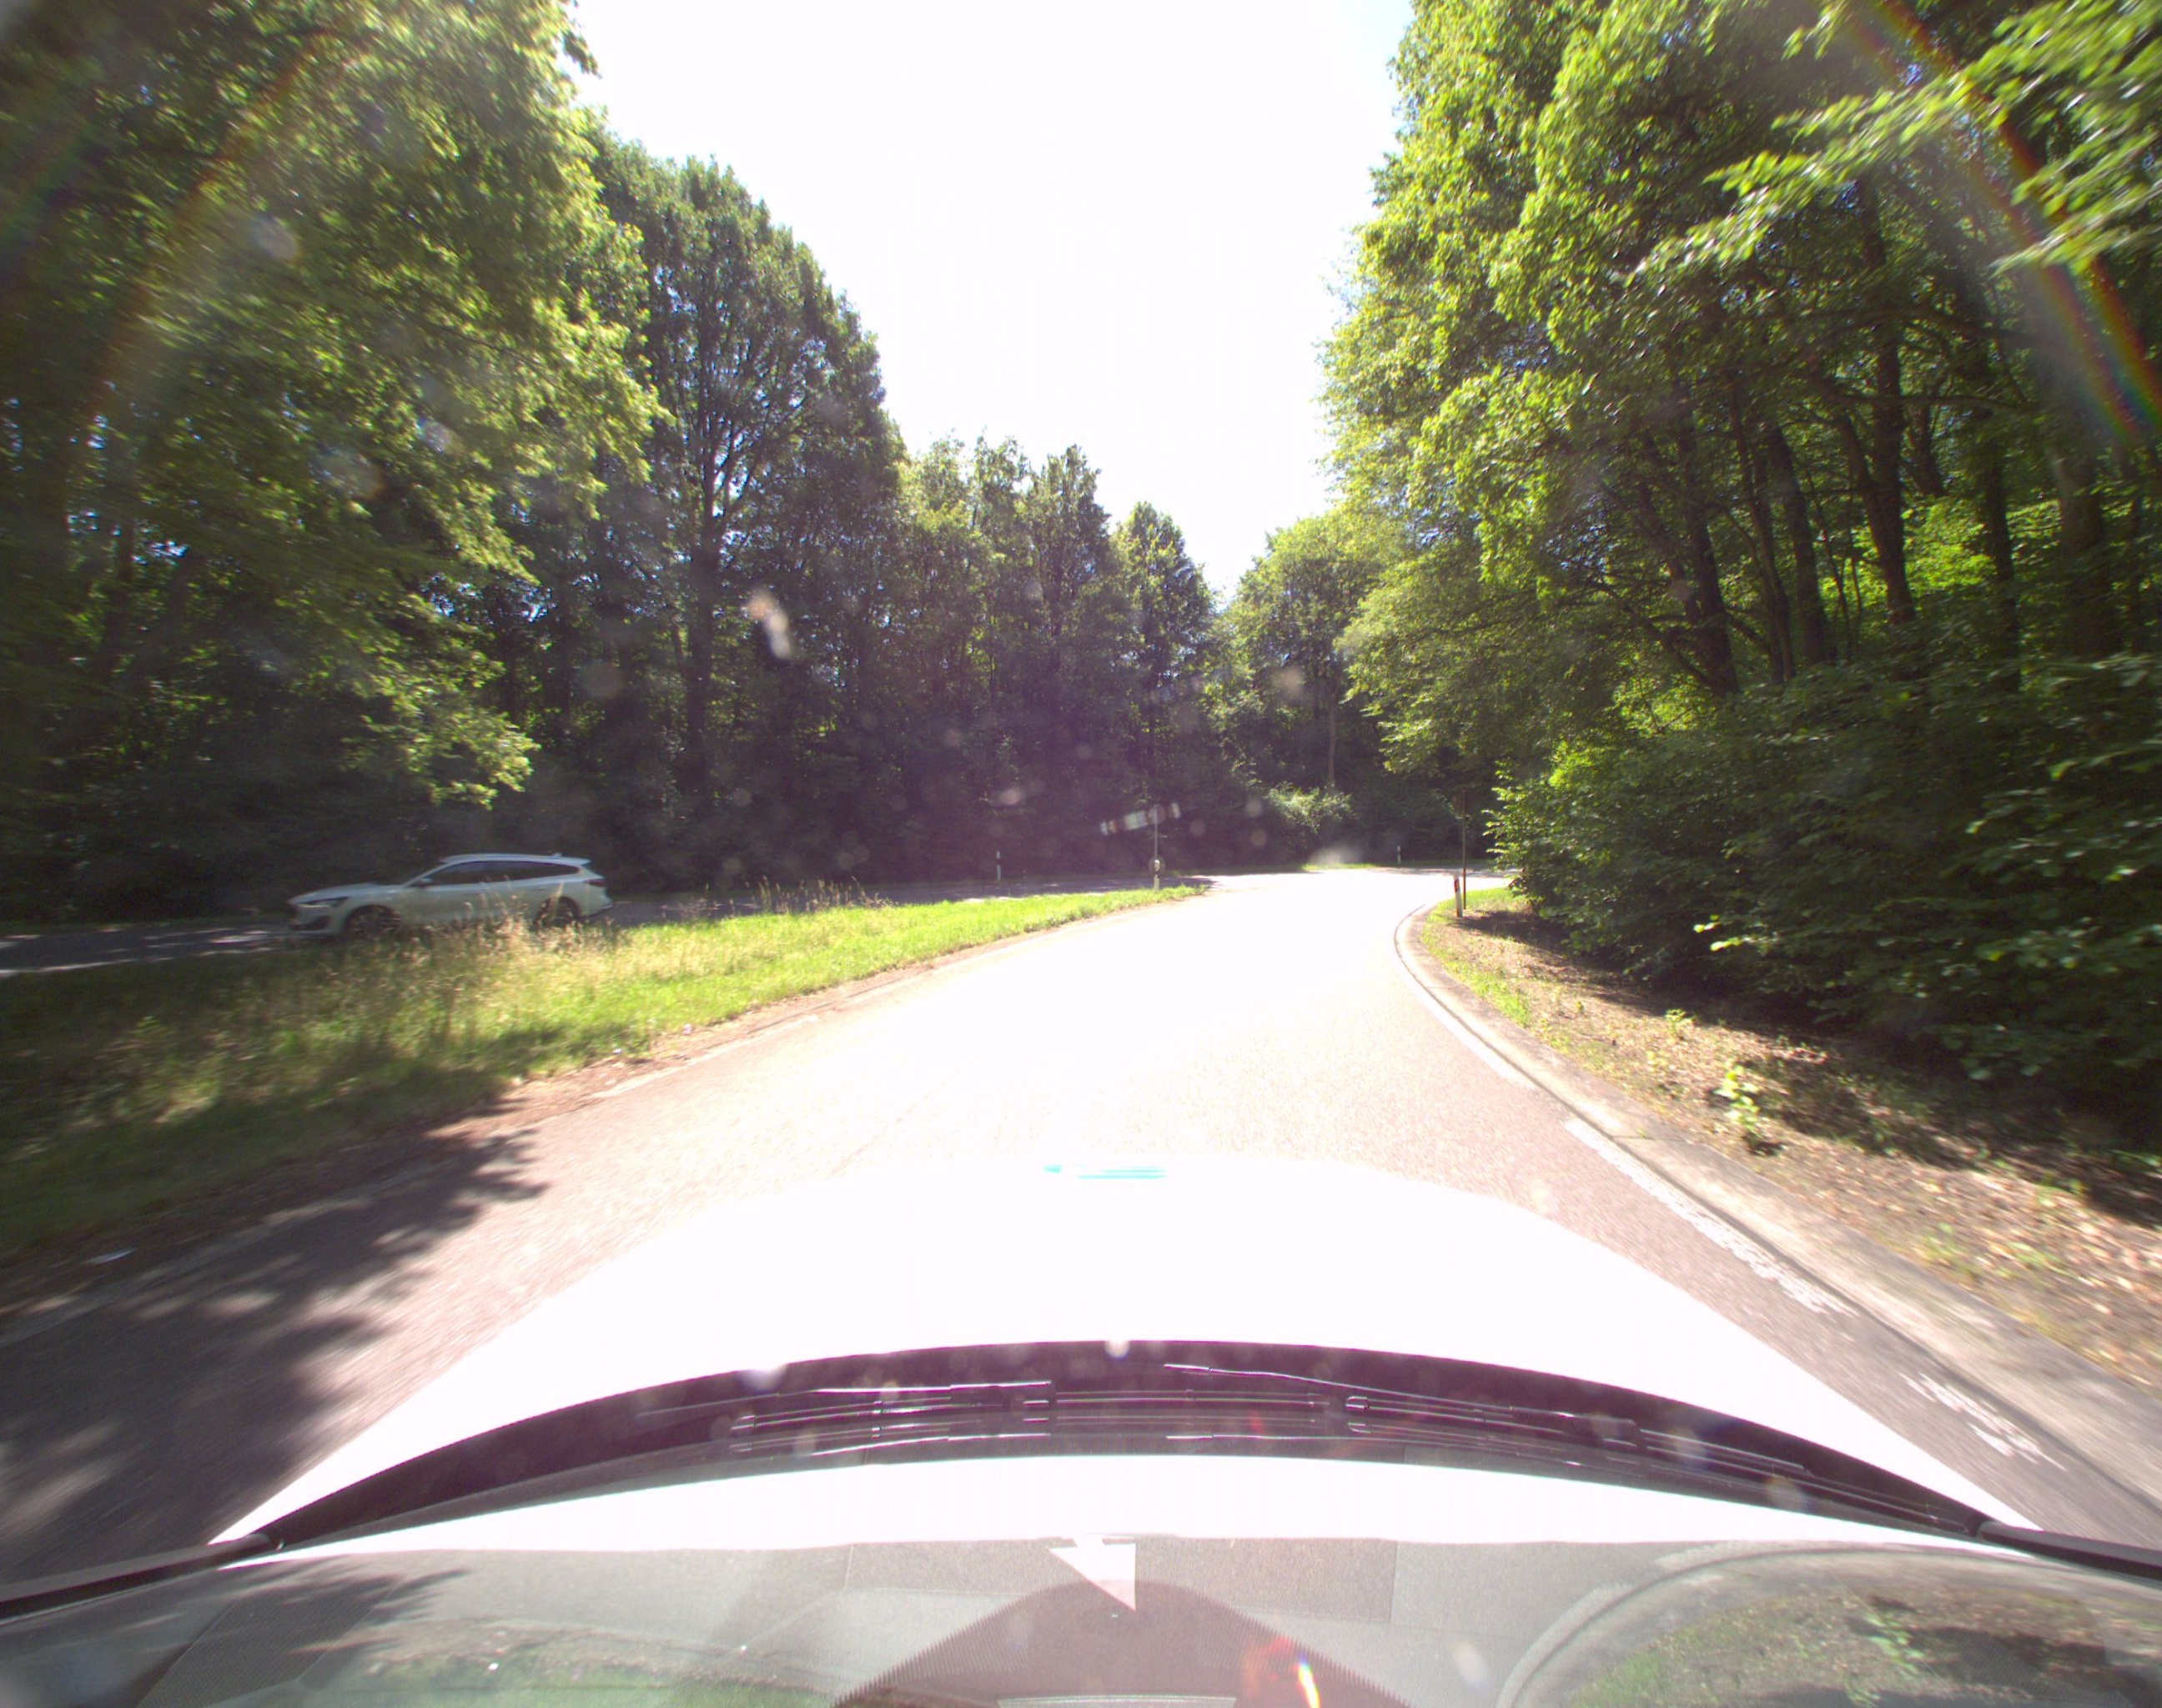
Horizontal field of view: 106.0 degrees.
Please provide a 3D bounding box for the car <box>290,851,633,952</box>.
[{"bbox_3d":[-11.385,0.741,15.304,1.739,1.452,4.900,2,3,43],"label":"car"}]
